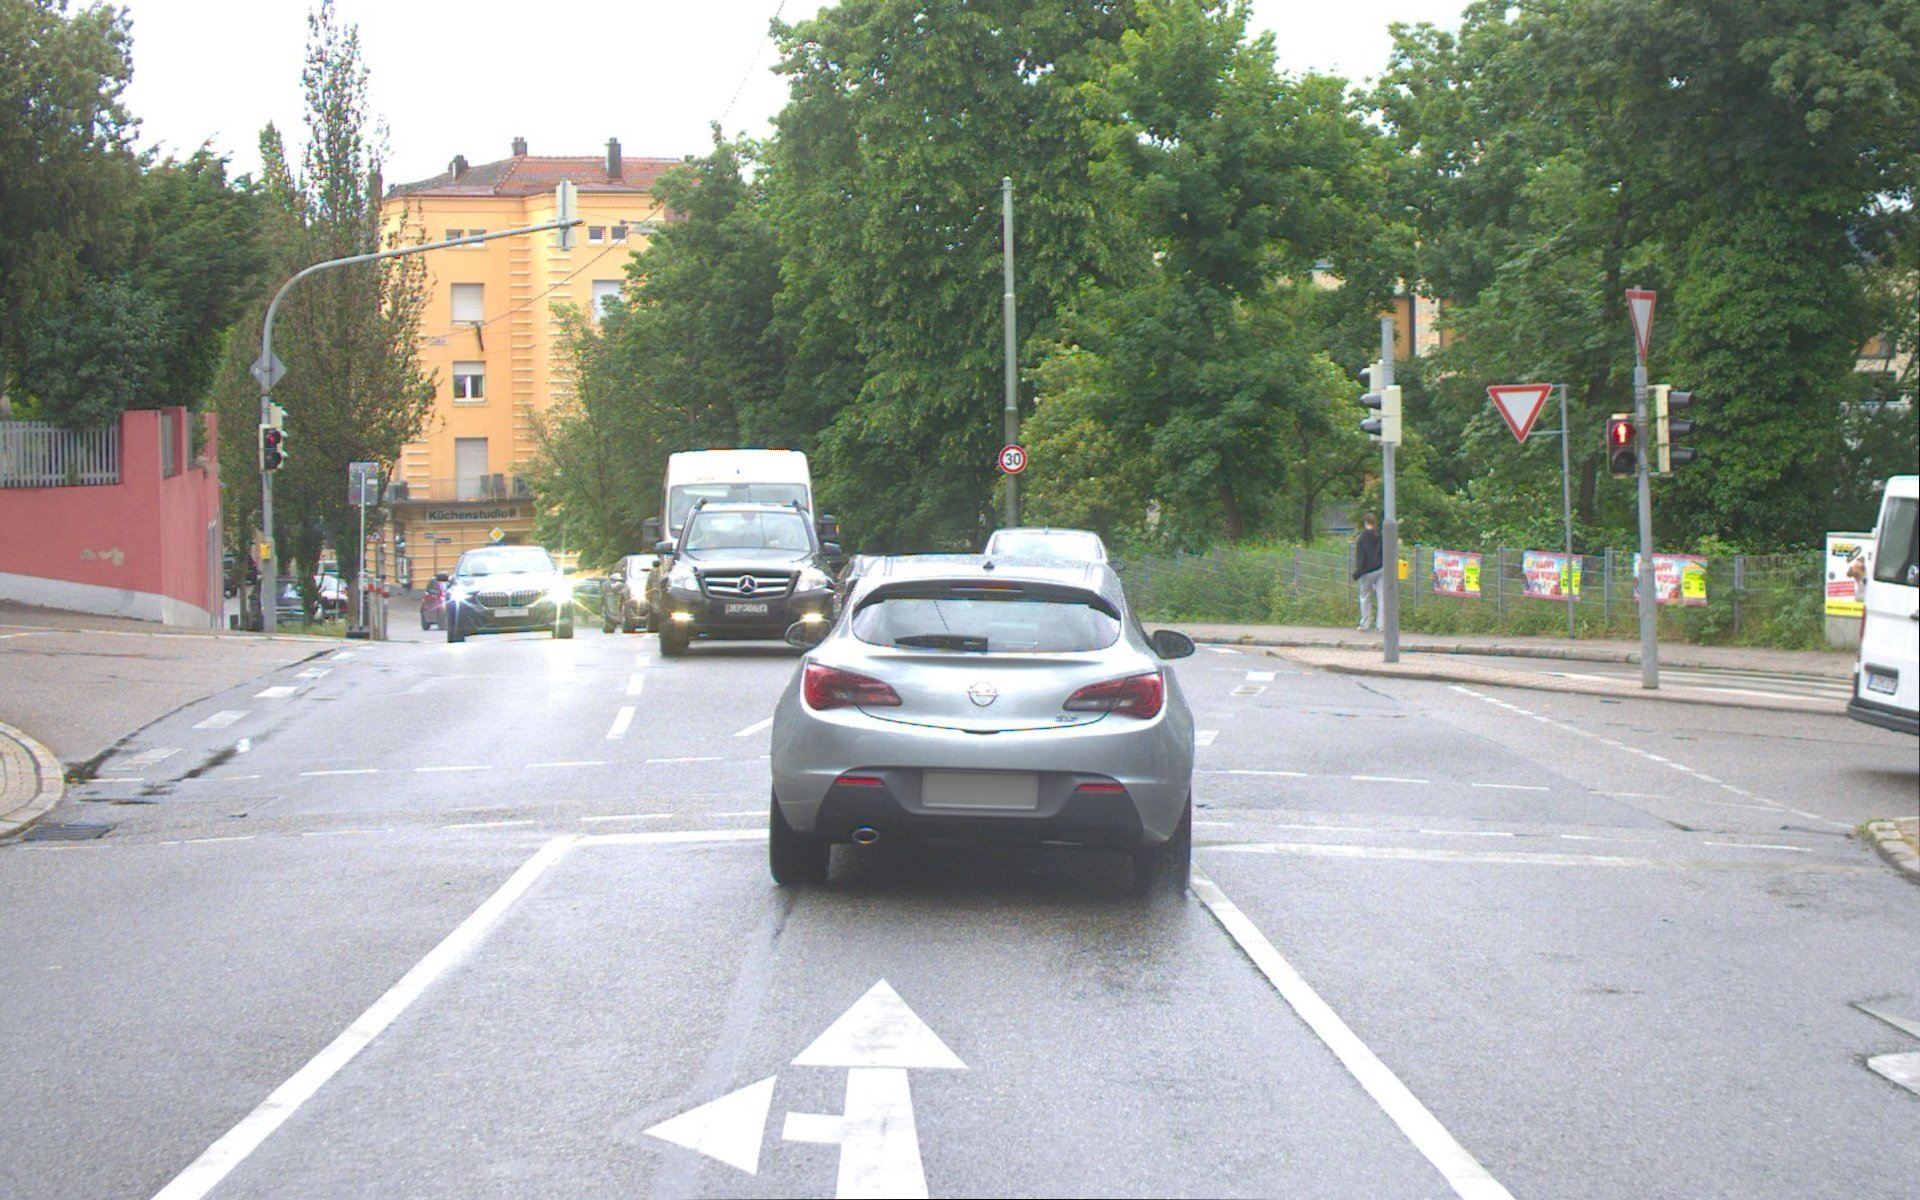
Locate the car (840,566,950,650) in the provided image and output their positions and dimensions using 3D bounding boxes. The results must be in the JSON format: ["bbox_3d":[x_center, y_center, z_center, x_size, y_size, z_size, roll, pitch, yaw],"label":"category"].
[{"bbox_3d":[-1.176,0.120,60.577,1.382,1.407,3.457,-2,1,-10],"label":"car"}]

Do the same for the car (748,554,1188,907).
[{"bbox_3d":[-0.005,0.511,16.189,1.814,1.425,4.000,0,1,-1],"label":"car"}]

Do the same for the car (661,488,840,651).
[{"bbox_3d":[-2.282,-0.361,37.367,1.821,1.646,4.347,1,1,-4],"label":"car"}]

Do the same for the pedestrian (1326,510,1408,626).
[{"bbox_3d":[5.783,-0.447,48.921,0.765,1.600,0.966,-3,0,-16],"label":"pedestrian"}]

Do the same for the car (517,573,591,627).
[{"bbox_3d":[-11.915,-0.011,100.671,1.639,1.531,3.718,-1,0,-15],"label":"car"}]

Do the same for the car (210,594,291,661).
[{"bbox_3d":[-17.700,0.699,85.691,1.814,1.607,4.001,0,-1,-14],"label":"car"}]

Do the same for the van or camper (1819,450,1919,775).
[{"bbox_3d":[9.540,0.267,25.887,5.398,2.318,2.111,4,2,-12],"label":"van or camper"}]

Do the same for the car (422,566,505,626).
[{"bbox_3d":[-13.913,-0.115,96.188,1.845,1.578,4.280,2,0,-14],"label":"car"}]

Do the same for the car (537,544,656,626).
[{"bbox_3d":[-6.952,-0.265,65.472,1.773,1.492,4.264,1,-1,-12],"label":"car"}]

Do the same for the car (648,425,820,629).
[{"bbox_3d":[-3.048,-0.926,46.004,2.117,2.537,5.540,-1,0,-4],"label":"car"}]

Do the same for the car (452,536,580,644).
[{"bbox_3d":[-6.828,-0.199,53.189,1.852,1.481,5.368,-1,2,-6],"label":"car"}]

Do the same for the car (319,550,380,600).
[{"bbox_3d":[-23.224,-0.933,130.721,1.781,1.849,4.001,0,-1,-17],"label":"car"}]

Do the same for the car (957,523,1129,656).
[{"bbox_3d":[0.912,-0.083,39.679,1.776,1.425,3.785,-1,-1,-1],"label":"car"}]
